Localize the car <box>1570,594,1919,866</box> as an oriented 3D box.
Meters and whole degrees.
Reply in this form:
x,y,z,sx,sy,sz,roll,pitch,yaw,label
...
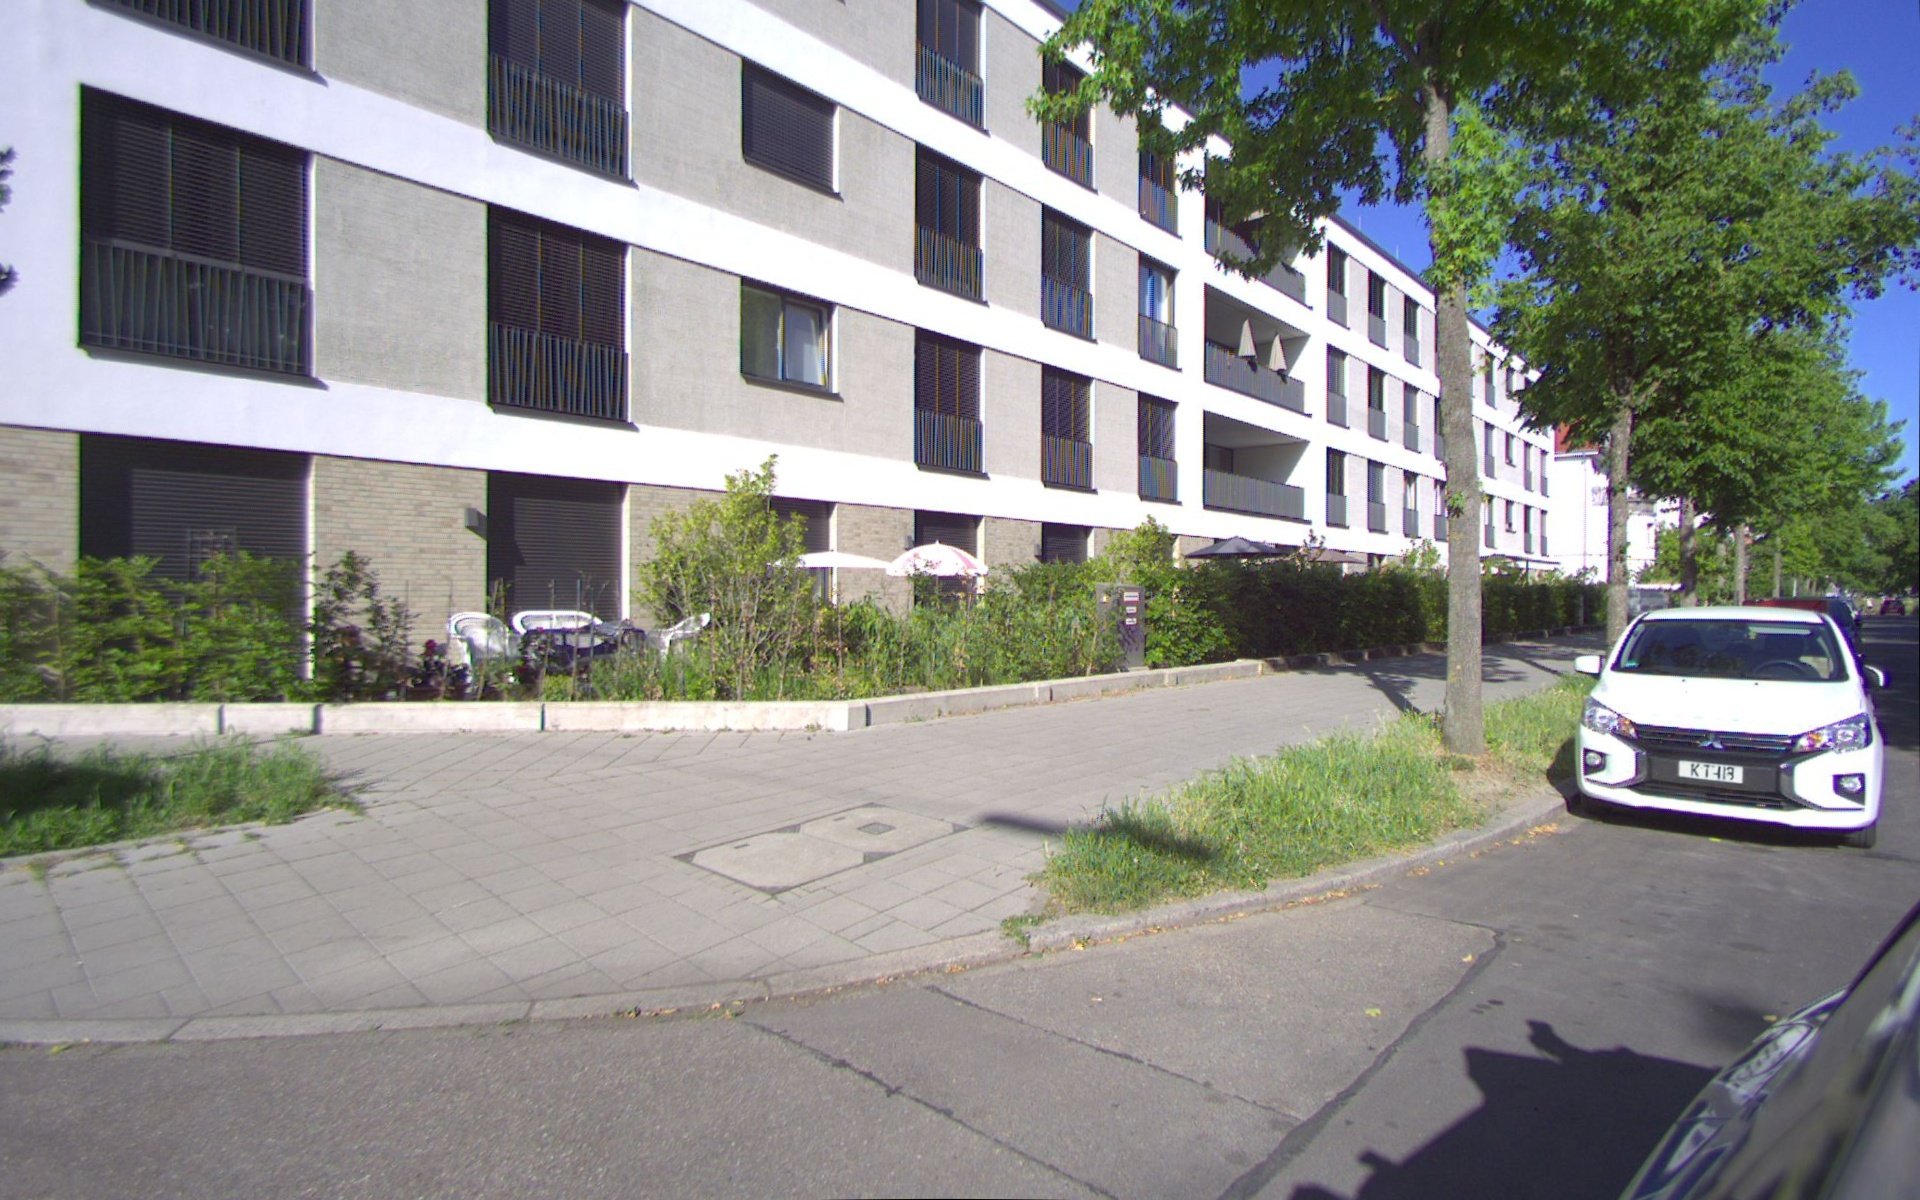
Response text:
x,y,z,sx,sy,sz,roll,pitch,yaw,label
5.977,0.714,7.691,1.730,1.506,3.952,0,0,40,car

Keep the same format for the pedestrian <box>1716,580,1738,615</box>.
x,y,z,sx,sy,sz,roll,pitch,yaw,label
45.573,-0.177,60.132,0.905,2.039,0.990,1,1,42,pedestrian

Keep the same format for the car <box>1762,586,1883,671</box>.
x,y,z,sx,sy,sz,roll,pitch,yaw,label
18.847,0.566,22.131,1.790,1.664,4.747,-2,-1,41,car

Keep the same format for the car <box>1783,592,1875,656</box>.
x,y,z,sx,sy,sz,roll,pitch,yaw,label
22.925,0.573,26.644,1.717,1.536,4.278,0,0,42,car

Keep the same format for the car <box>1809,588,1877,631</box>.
x,y,z,sx,sy,sz,roll,pitch,yaw,label
36.184,0.347,41.423,1.897,1.668,4.785,0,0,44,car

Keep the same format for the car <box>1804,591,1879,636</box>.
x,y,z,sx,sy,sz,roll,pitch,yaw,label
32.292,0.443,37.175,1.777,1.537,4.624,0,0,37,car

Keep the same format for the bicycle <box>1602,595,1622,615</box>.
x,y,z,sx,sy,sz,roll,pitch,yaw,label
31.112,0.224,48.269,0.563,0.906,1.585,0,0,42,bicycle

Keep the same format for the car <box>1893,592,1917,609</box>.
x,y,z,sx,sy,sz,roll,pitch,yaw,label
89.122,0.025,95.451,1.661,1.483,3.394,2,1,43,car

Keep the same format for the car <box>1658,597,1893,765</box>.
x,y,z,sx,sy,sz,roll,pitch,yaw,label
8.926,0.734,11.093,1.667,1.469,4.118,-2,-1,40,car

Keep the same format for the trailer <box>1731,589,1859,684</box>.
x,y,z,sx,sy,sz,roll,pitch,yaw,label
15.594,0.631,18.848,1.574,1.599,3.142,-3,-2,44,trailer
